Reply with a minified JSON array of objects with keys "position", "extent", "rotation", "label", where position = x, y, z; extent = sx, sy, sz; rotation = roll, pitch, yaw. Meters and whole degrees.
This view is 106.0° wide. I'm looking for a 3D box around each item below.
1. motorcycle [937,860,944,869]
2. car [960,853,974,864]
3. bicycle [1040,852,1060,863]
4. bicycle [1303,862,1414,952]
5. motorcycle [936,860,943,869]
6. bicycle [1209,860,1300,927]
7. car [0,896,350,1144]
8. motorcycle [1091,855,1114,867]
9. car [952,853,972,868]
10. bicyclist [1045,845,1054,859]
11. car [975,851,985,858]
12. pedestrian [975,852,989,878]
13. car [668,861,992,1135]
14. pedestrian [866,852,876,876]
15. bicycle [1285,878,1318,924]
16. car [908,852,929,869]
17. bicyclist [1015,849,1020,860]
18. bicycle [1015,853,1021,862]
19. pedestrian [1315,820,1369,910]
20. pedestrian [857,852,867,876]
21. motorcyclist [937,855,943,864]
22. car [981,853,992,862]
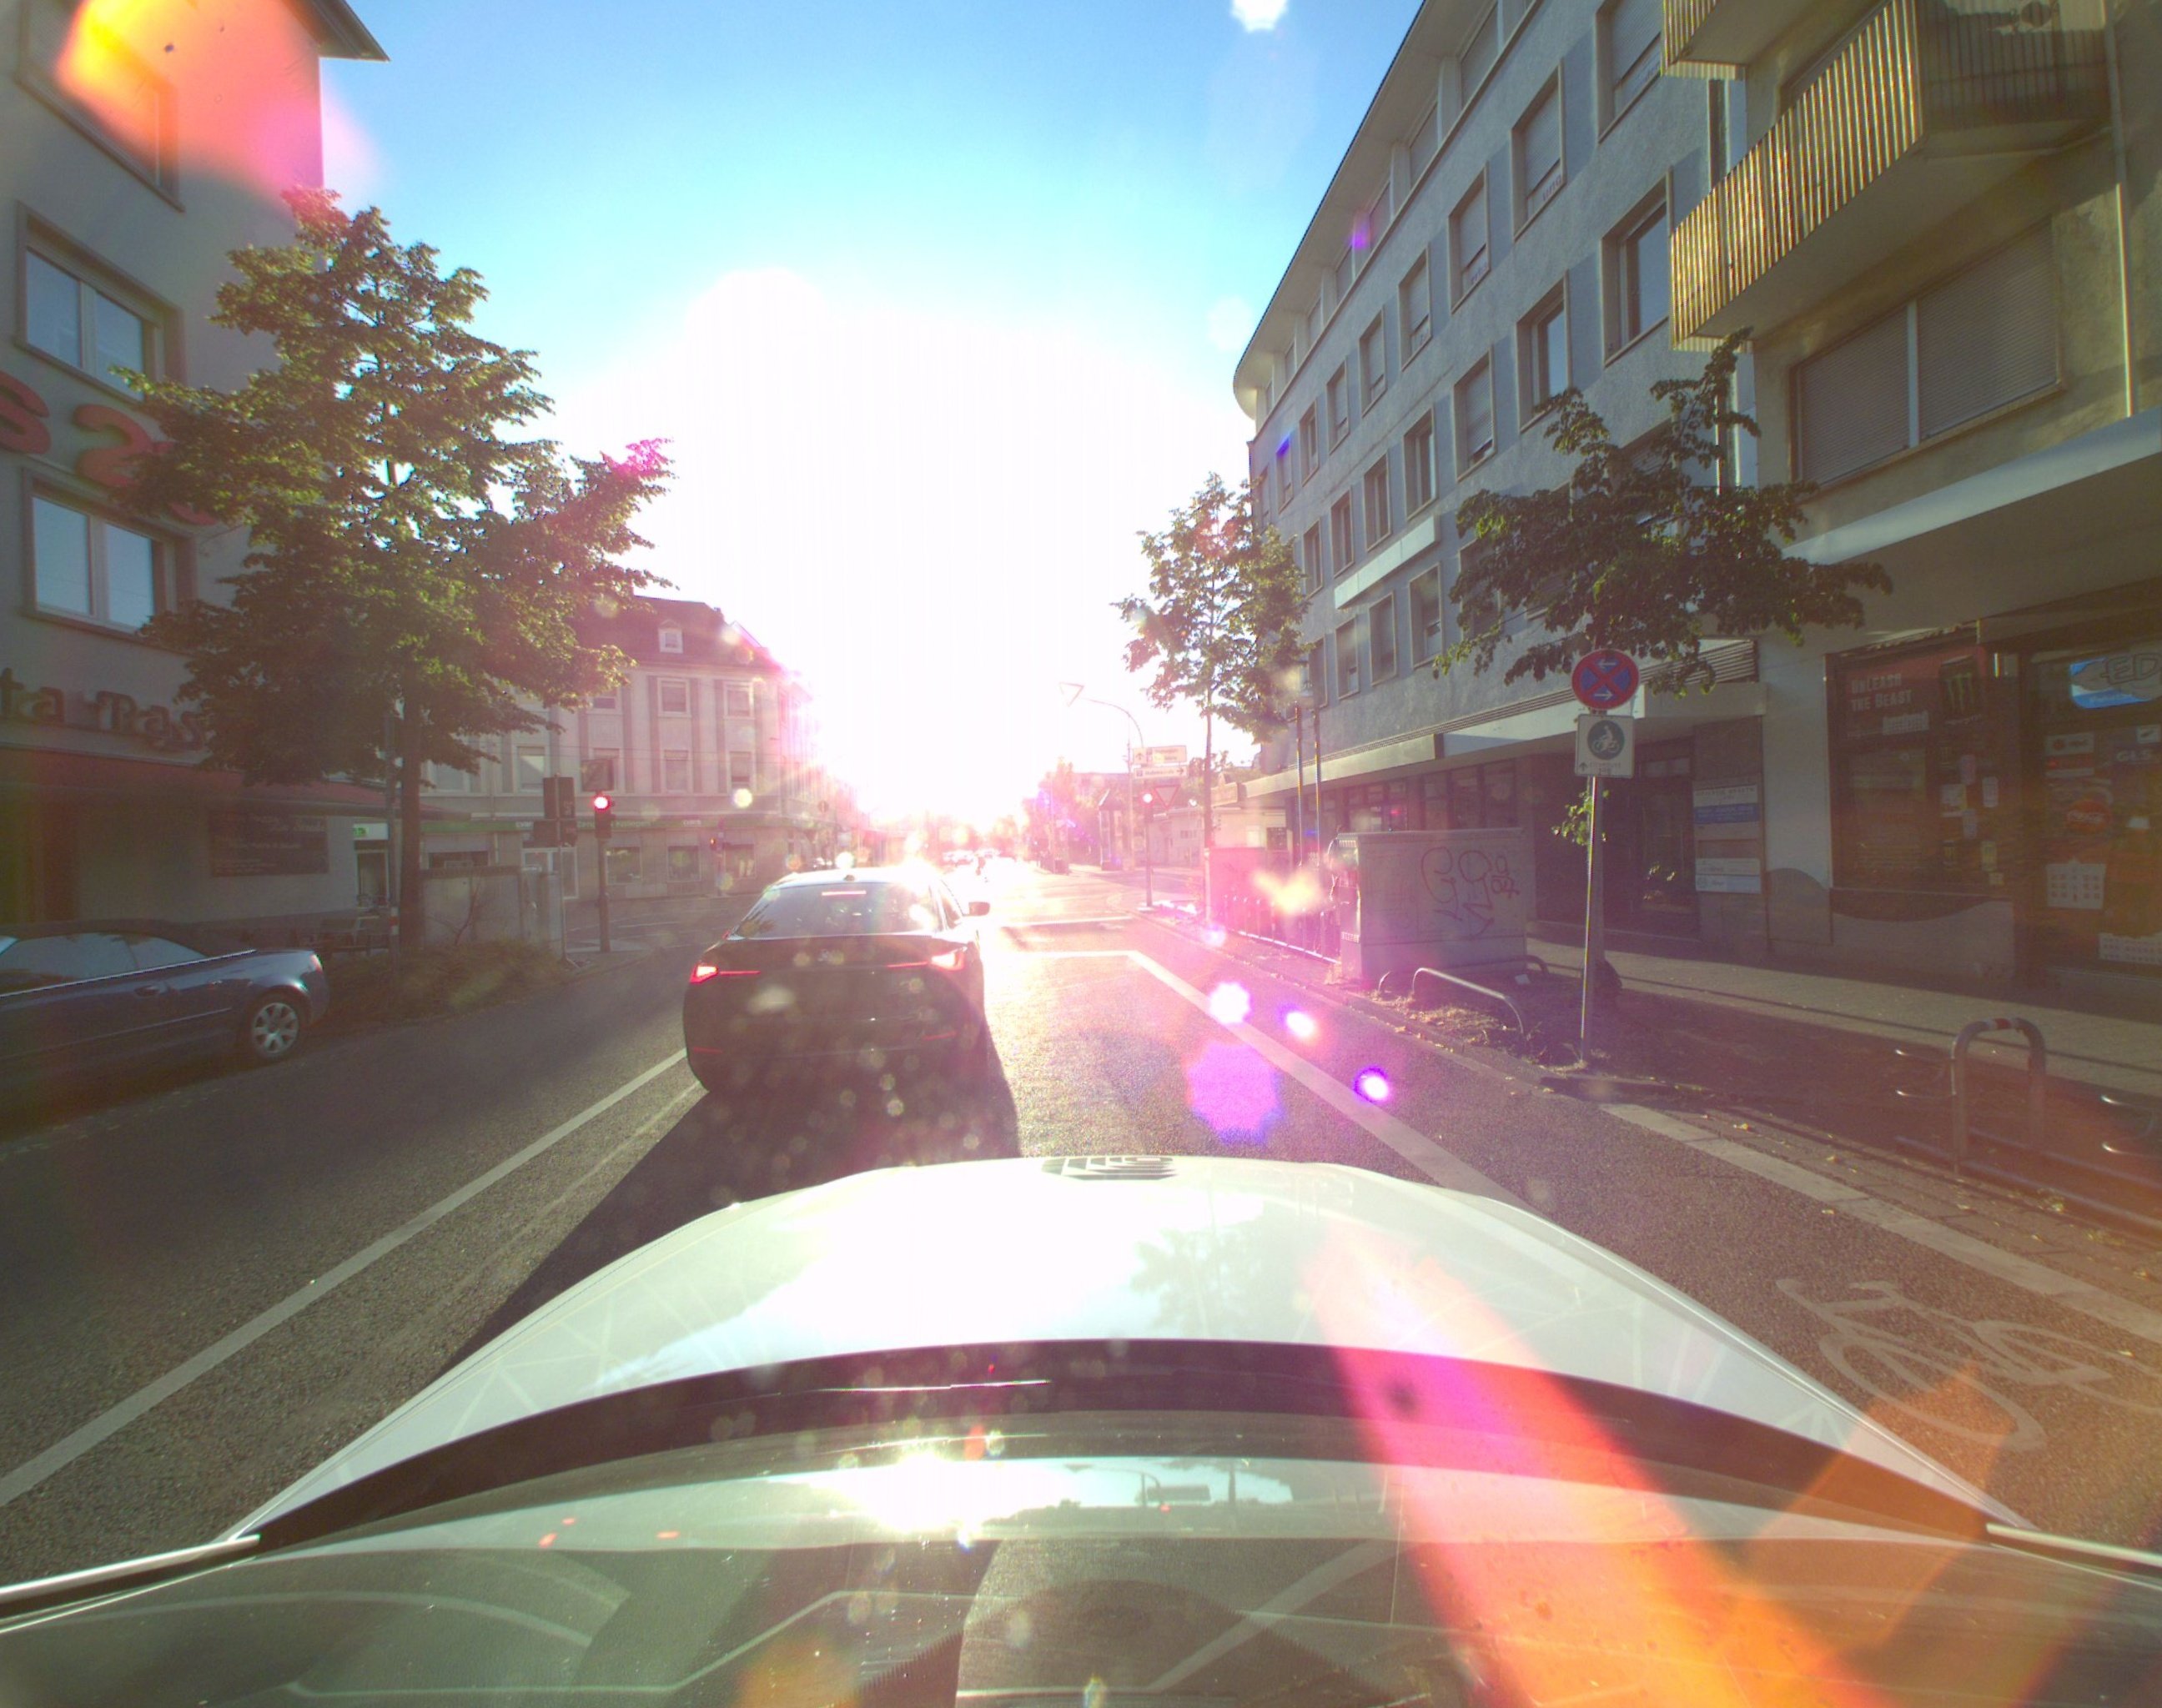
[{"position":[-15.017,1.141,86.822],"extent":[0.574,0.915,2.196],"rotation":[0,0,-6],"label":"motorcycle"},{"position":[-17.316,0.651,123.862],"extent":[1.816,1.519,3.992],"rotation":[-2,0,-6],"label":"car"},{"position":[-3.403,0.397,89.254],"extent":[2.202,1.202,0.621],"rotation":[0,0,4],"label":"bicycle"},{"position":[3.885,0.727,11.418],"extent":[1.438,1.220,0.383],"rotation":[0,0,-5],"label":"bicycle"},{"position":[-15.644,1.145,90.221],"extent":[0.574,0.915,2.196],"rotation":[0,0,-6],"label":"motorcycle"},{"position":[3.228,0.735,15.211],"extent":[1.610,1.171,0.318],"rotation":[-2,0,-5],"label":"bicycle"},{"position":[-7.640,1.154,5.544],"extent":[1.721,1.415,4.270],"rotation":[-4,0,-7],"label":"car"},{"position":[1.790,0.573,68.021],"extent":[1.673,0.939,0.851],"rotation":[-2,0,-18],"label":"motorcycle"},{"position":[-12.540,0.685,86.094],"extent":[1.816,1.519,3.992],"rotation":[-2,0,-6],"label":"car"},{"position":[-3.459,-0.179,89.252],"extent":[0.879,1.505,0.613],"rotation":[0,0,5],"label":"bicyclist"},{"position":[-22.389,0.084,180.329],"extent":[1.990,1.552,3.994],"rotation":[-3,1,-4],"label":"car"},{"position":[-5.803,0.645,47.627],"extent":[0.736,1.529,0.469],"rotation":[0,0,-24],"label":"pedestrian"},{"position":[-1.646,0.806,6.661],"extent":[1.735,1.428,4.213],"rotation":[-1,0,-7],"label":"car"},{"position":[-16.588,0.768,64.270],"extent":[0.675,1.876,0.616],"rotation":[0,0,-6],"label":"pedestrian"},{"position":[4.174,0.876,15.468],"extent":[0.249,0.796,1.114],"rotation":[0,0,-4],"label":"bicycle"},{"position":[-17.503,0.675,87.720],"extent":[1.816,1.788,3.992],"rotation":[-2,0,-6],"label":"car"},{"position":[-8.163,0.078,104.979],"extent":[0.550,1.481,0.720],"rotation":[-1,-1,-9],"label":"bicyclist"},{"position":[-8.163,0.444,105.014],"extent":[0.550,1.159,2.138],"rotation":[-1,-1,-9],"label":"bicycle"},{"position":[5.551,0.227,17.364],"extent":[0.834,1.841,0.677],"rotation":[-2,0,-6],"label":"pedestrian"},{"position":[-17.301,0.774,64.345],"extent":[0.642,1.876,0.630],"rotation":[0,0,-7],"label":"pedestrian"},{"position":[-15.001,0.609,86.705],"extent":[0.574,0.995,0.701],"rotation":[0,0,-6],"label":"motorcyclist"},{"position":[-16.320,0.594,141.210],"extent":[1.816,1.519,3.992],"rotation":[-2,0,-6],"label":"car"}]
